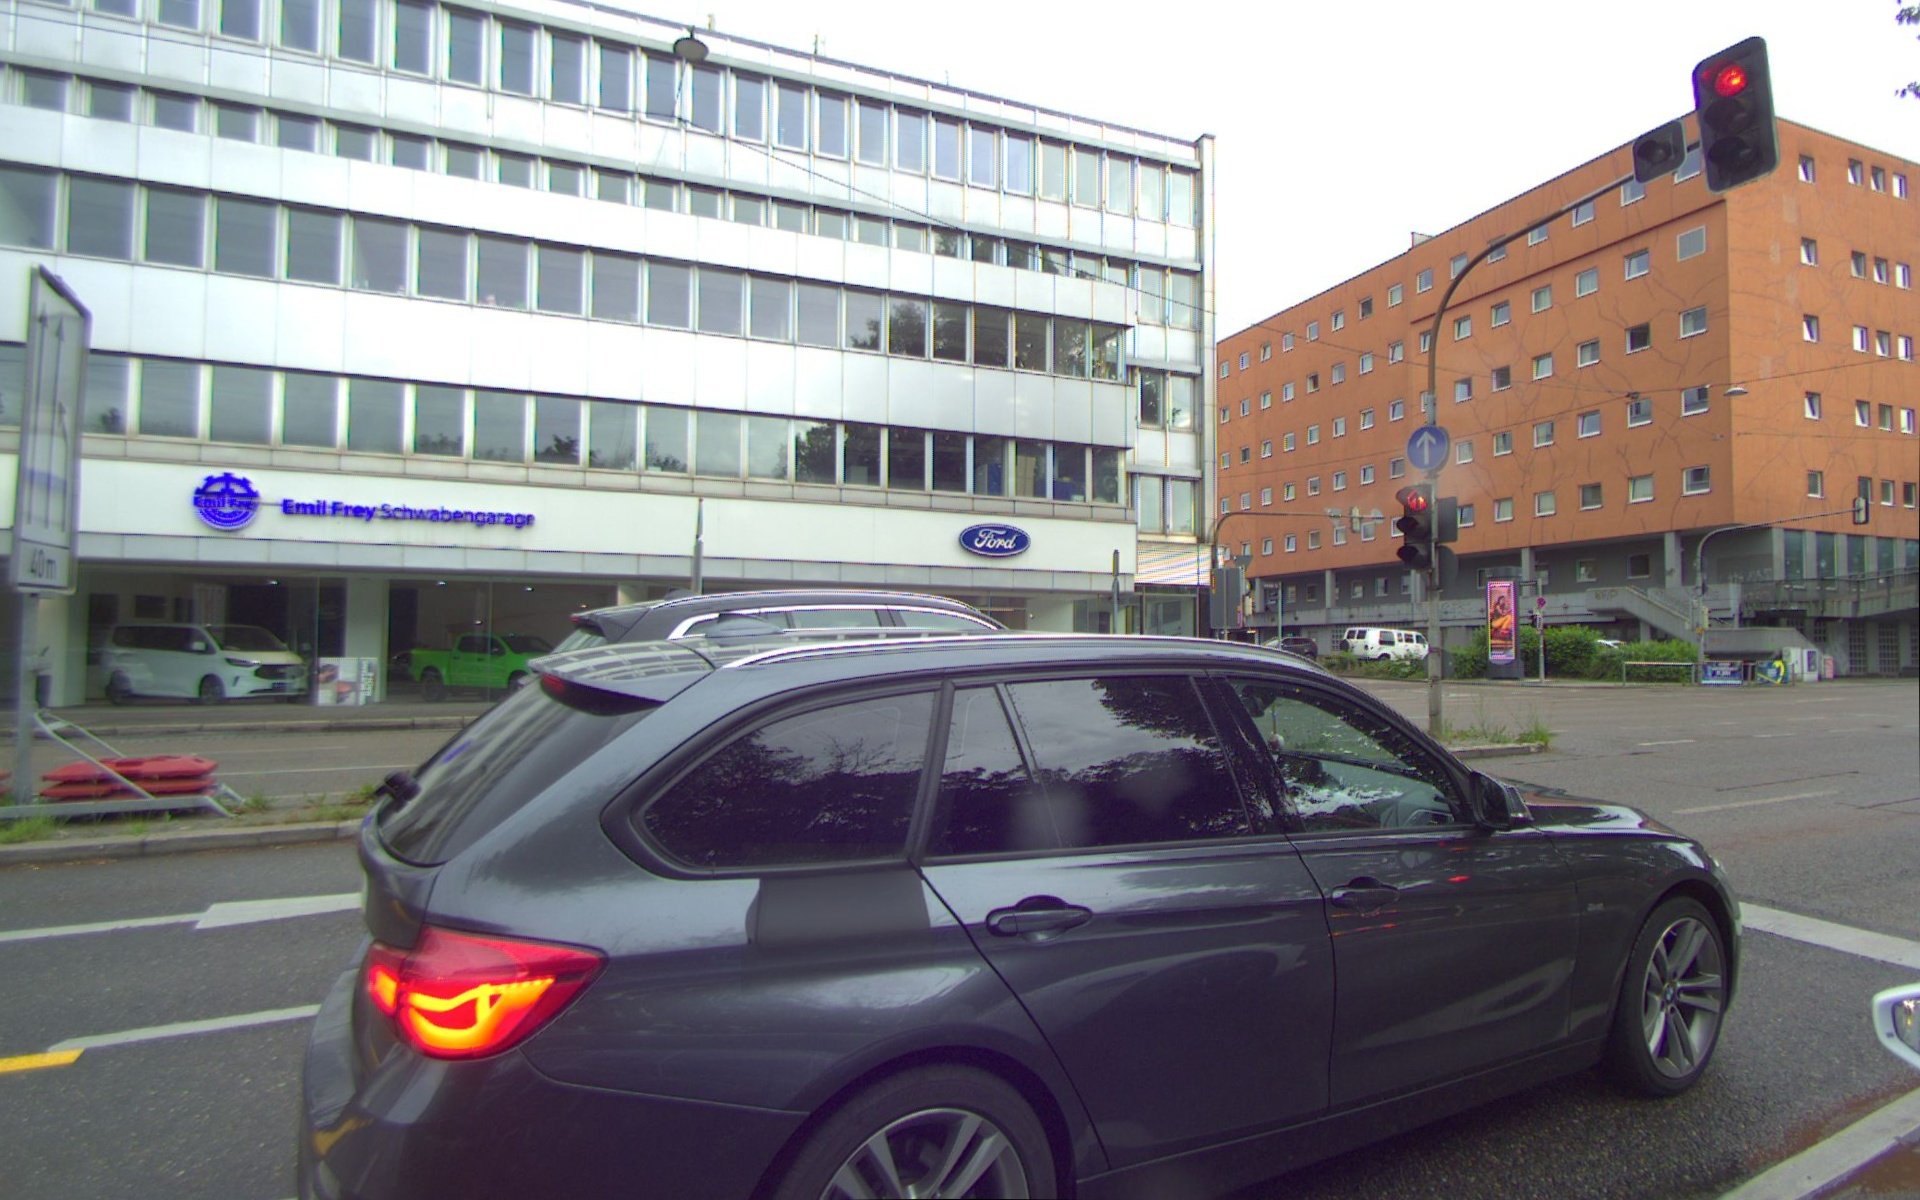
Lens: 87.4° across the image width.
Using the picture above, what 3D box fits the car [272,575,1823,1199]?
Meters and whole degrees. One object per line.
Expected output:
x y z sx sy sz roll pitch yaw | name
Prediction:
0.621 0.797 3.155 4.424 1.477 1.769 2 -3 -30 | car

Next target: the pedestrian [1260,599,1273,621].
25.876 0.858 84.726 0.714 1.864 0.761 2 0 -21 | pedestrian

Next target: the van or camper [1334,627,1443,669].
22.365 2.514 52.389 5.376 2.004 2.121 2 0 -23 | van or camper

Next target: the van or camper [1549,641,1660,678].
29.926 2.725 46.783 1.887 1.648 3.978 1 -2 -23 | van or camper

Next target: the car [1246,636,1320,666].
18.976 2.990 59.023 4.027 1.633 1.706 2 0 -23 | car

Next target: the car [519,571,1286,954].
-0.267 0.766 6.229 4.389 1.678 1.802 2 0 -28 | car
